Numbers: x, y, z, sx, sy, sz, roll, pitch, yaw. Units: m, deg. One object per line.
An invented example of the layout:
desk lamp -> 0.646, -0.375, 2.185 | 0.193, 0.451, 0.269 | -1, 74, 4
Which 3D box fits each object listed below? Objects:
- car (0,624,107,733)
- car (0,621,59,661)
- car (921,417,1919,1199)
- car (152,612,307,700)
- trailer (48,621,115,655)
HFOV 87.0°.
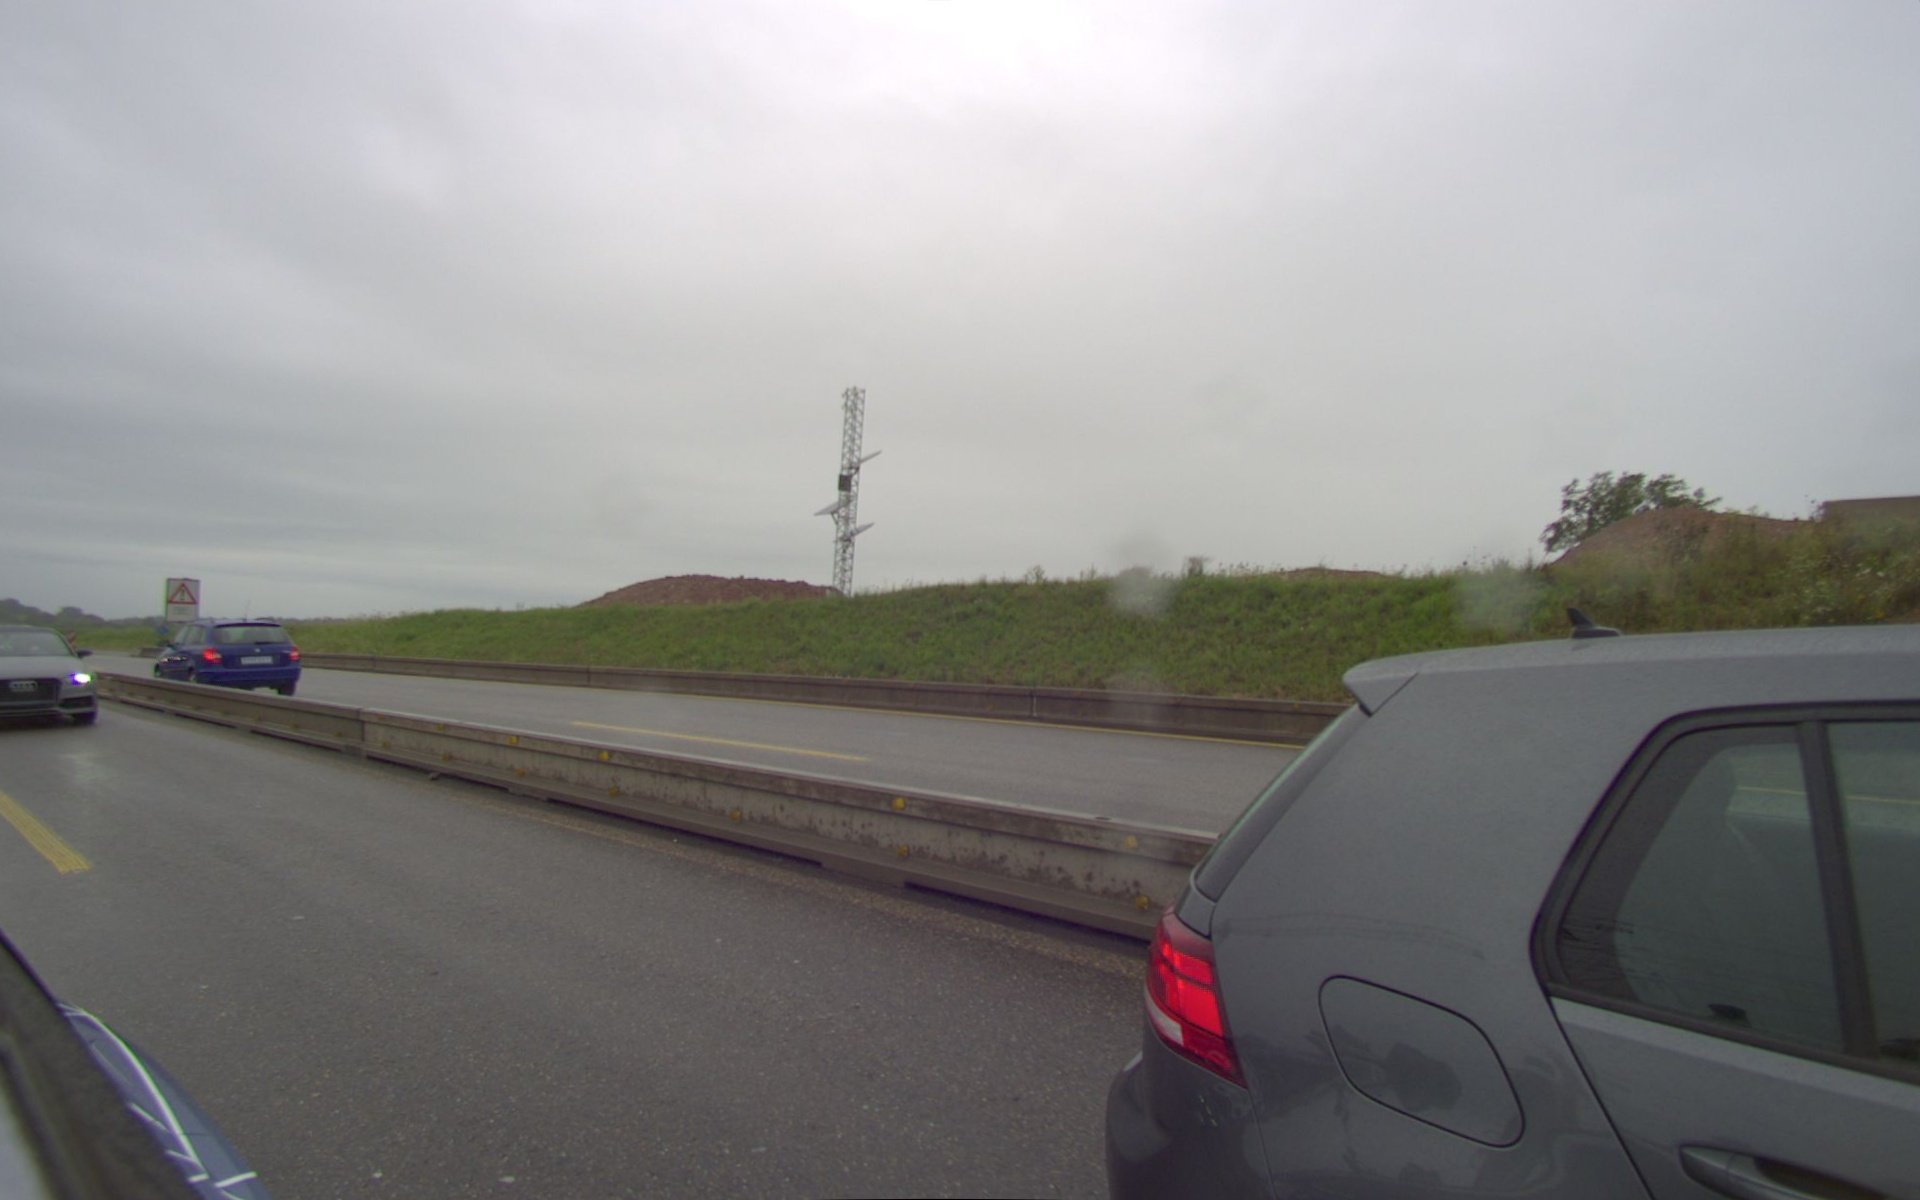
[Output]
car -> -14.074, 1.072, 14.793 | 4.084, 1.393, 1.782 | 0, -1, 40
car -> -35.539, 1.515, 38.156 | 3.704, 1.437, 1.771 | -1, -1, 39
car -> 2.075, 0.618, 0.839 | 4.368, 1.518, 1.596 | -1, -3, 43
car -> -14.183, 1.013, 19.578 | 3.827, 1.514, 1.632 | -1, -1, 41
trailer -> -41.249, 1.761, 47.488 | 4.156, 1.475, 1.614 | 0, -3, 39
